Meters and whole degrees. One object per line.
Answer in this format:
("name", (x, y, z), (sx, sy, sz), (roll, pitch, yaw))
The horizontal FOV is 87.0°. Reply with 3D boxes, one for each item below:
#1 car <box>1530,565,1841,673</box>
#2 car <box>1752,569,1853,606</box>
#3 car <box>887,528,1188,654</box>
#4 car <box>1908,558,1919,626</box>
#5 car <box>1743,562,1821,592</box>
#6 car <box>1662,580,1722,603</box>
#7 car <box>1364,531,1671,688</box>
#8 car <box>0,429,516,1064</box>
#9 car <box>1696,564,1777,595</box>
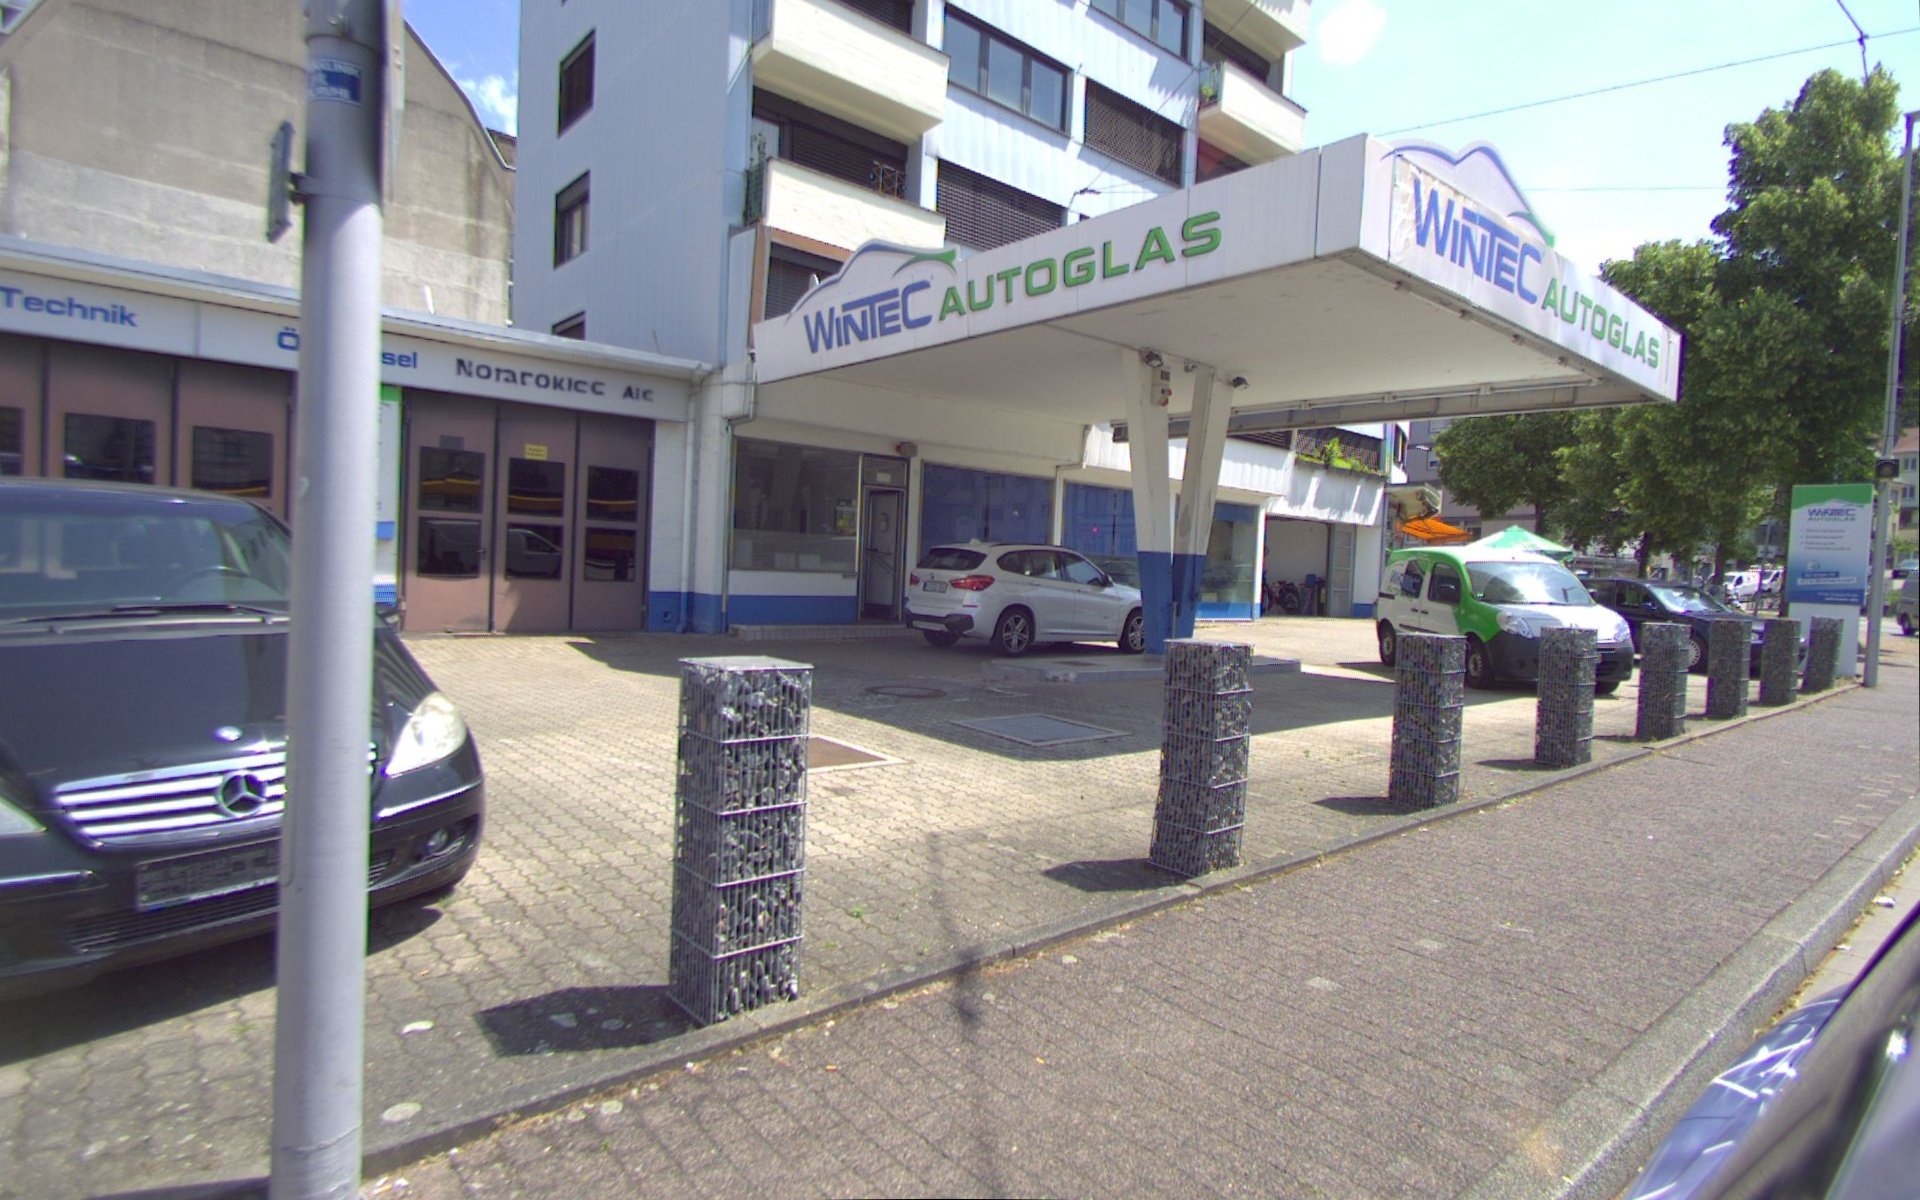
("car", (11.838, 0.232, 16.881), (1.664, 1.446, 3.984), (1, 3, -16))
("car", (49.063, -0.765, 58.876), (6.245, 2.039, 2.405), (-1, 1, -29))
("car", (1.291, -0.163, 15.389), (4.620, 1.646, 1.750), (0, 2, -39))
("car", (32.738, -0.220, 32.524), (1.982, 2.299, 5.391), (0, 1, 29))
("car", (57.569, -1.602, 70.872), (5.273, 2.039, 2.405), (-1, 1, -29))
("car", (47.033, -0.548, 65.003), (4.073, 1.386, 1.534), (-1, 1, -29))
("car", (7.323, 0.055, 13.895), (1.788, 1.812, 4.291), (0, 1, -1))
("car", (-3.618, 0.261, 3.998), (3.869, 1.561, 1.817), (3, 3, 38))
("car", (51.893, -1.384, 67.630), (5.273, 2.039, 2.405), (-1, 1, -29))
